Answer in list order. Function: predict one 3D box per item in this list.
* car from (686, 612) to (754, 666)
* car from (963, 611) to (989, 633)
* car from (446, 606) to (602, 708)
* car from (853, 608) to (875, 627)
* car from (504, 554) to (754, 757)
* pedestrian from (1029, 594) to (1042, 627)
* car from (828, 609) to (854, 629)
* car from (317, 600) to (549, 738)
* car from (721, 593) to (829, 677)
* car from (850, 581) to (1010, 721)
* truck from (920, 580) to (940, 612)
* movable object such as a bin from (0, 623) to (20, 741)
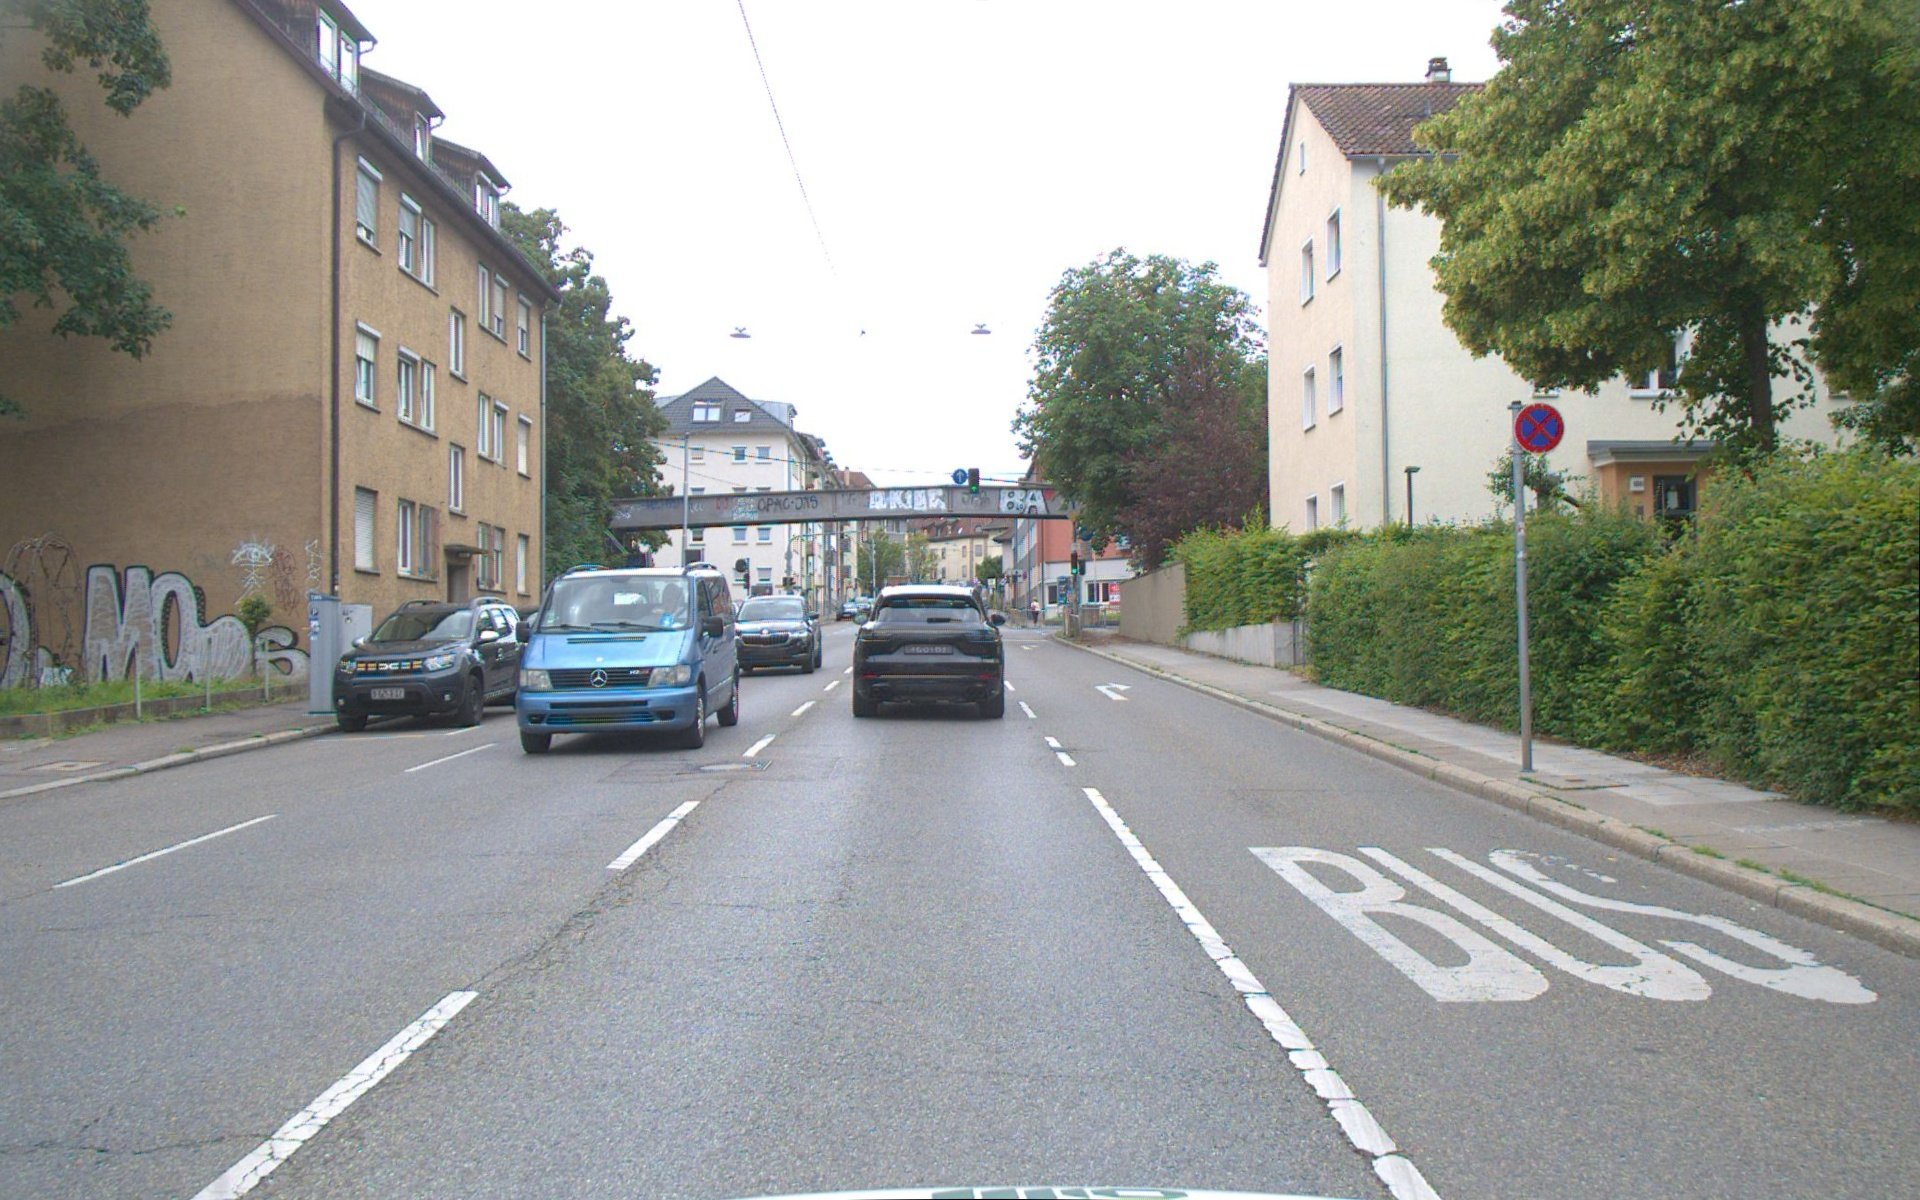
[{"bbox_3d":[-7.651,1.218,53.073,1.711,1.596,3.906,-2,0,-3],"label":"car"},{"bbox_3d":[1.074,1.455,111.270,1.706,1.424,4.000,0,0,-1],"label":"car"},{"bbox_3d":[-7.375,0.916,28.360,1.716,1.557,4.097,-2,0,-3],"label":"car"},{"bbox_3d":[-8.533,1.537,147.244,1.729,1.679,4.000,-1,0,0],"label":"car"},{"bbox_3d":[-3.511,0.537,18.410,1.891,1.934,4.588,-1,0,-1],"label":"car"},{"bbox_3d":[4.216,0.606,92.763,0.639,1.823,0.714,0,-1,-3],"label":"pedestrian"},{"bbox_3d":[-9.408,1.475,130.697,1.729,1.534,4.000,-1,0,0],"label":"car"},{"bbox_3d":[-7.179,0.879,22.994,1.746,1.637,4.264,-3,0,0],"label":"car"},{"bbox_3d":[-3.829,0.708,34.836,1.803,1.618,4.163,-2,0,-1],"label":"car"},{"bbox_3d":[-0.380,0.611,22.244,1.953,1.691,4.000,0,0,-1],"label":"car"},{"bbox_3d":[-3.371,-0.405,186.440,2.221,3.484,9.875,-1,0,-1],"label":"truck"},{"bbox_3d":[-12.482,1.022,20.265,1.256,1.453,1.278,0,0,-5],"label":"movable object such as a bin"}]
